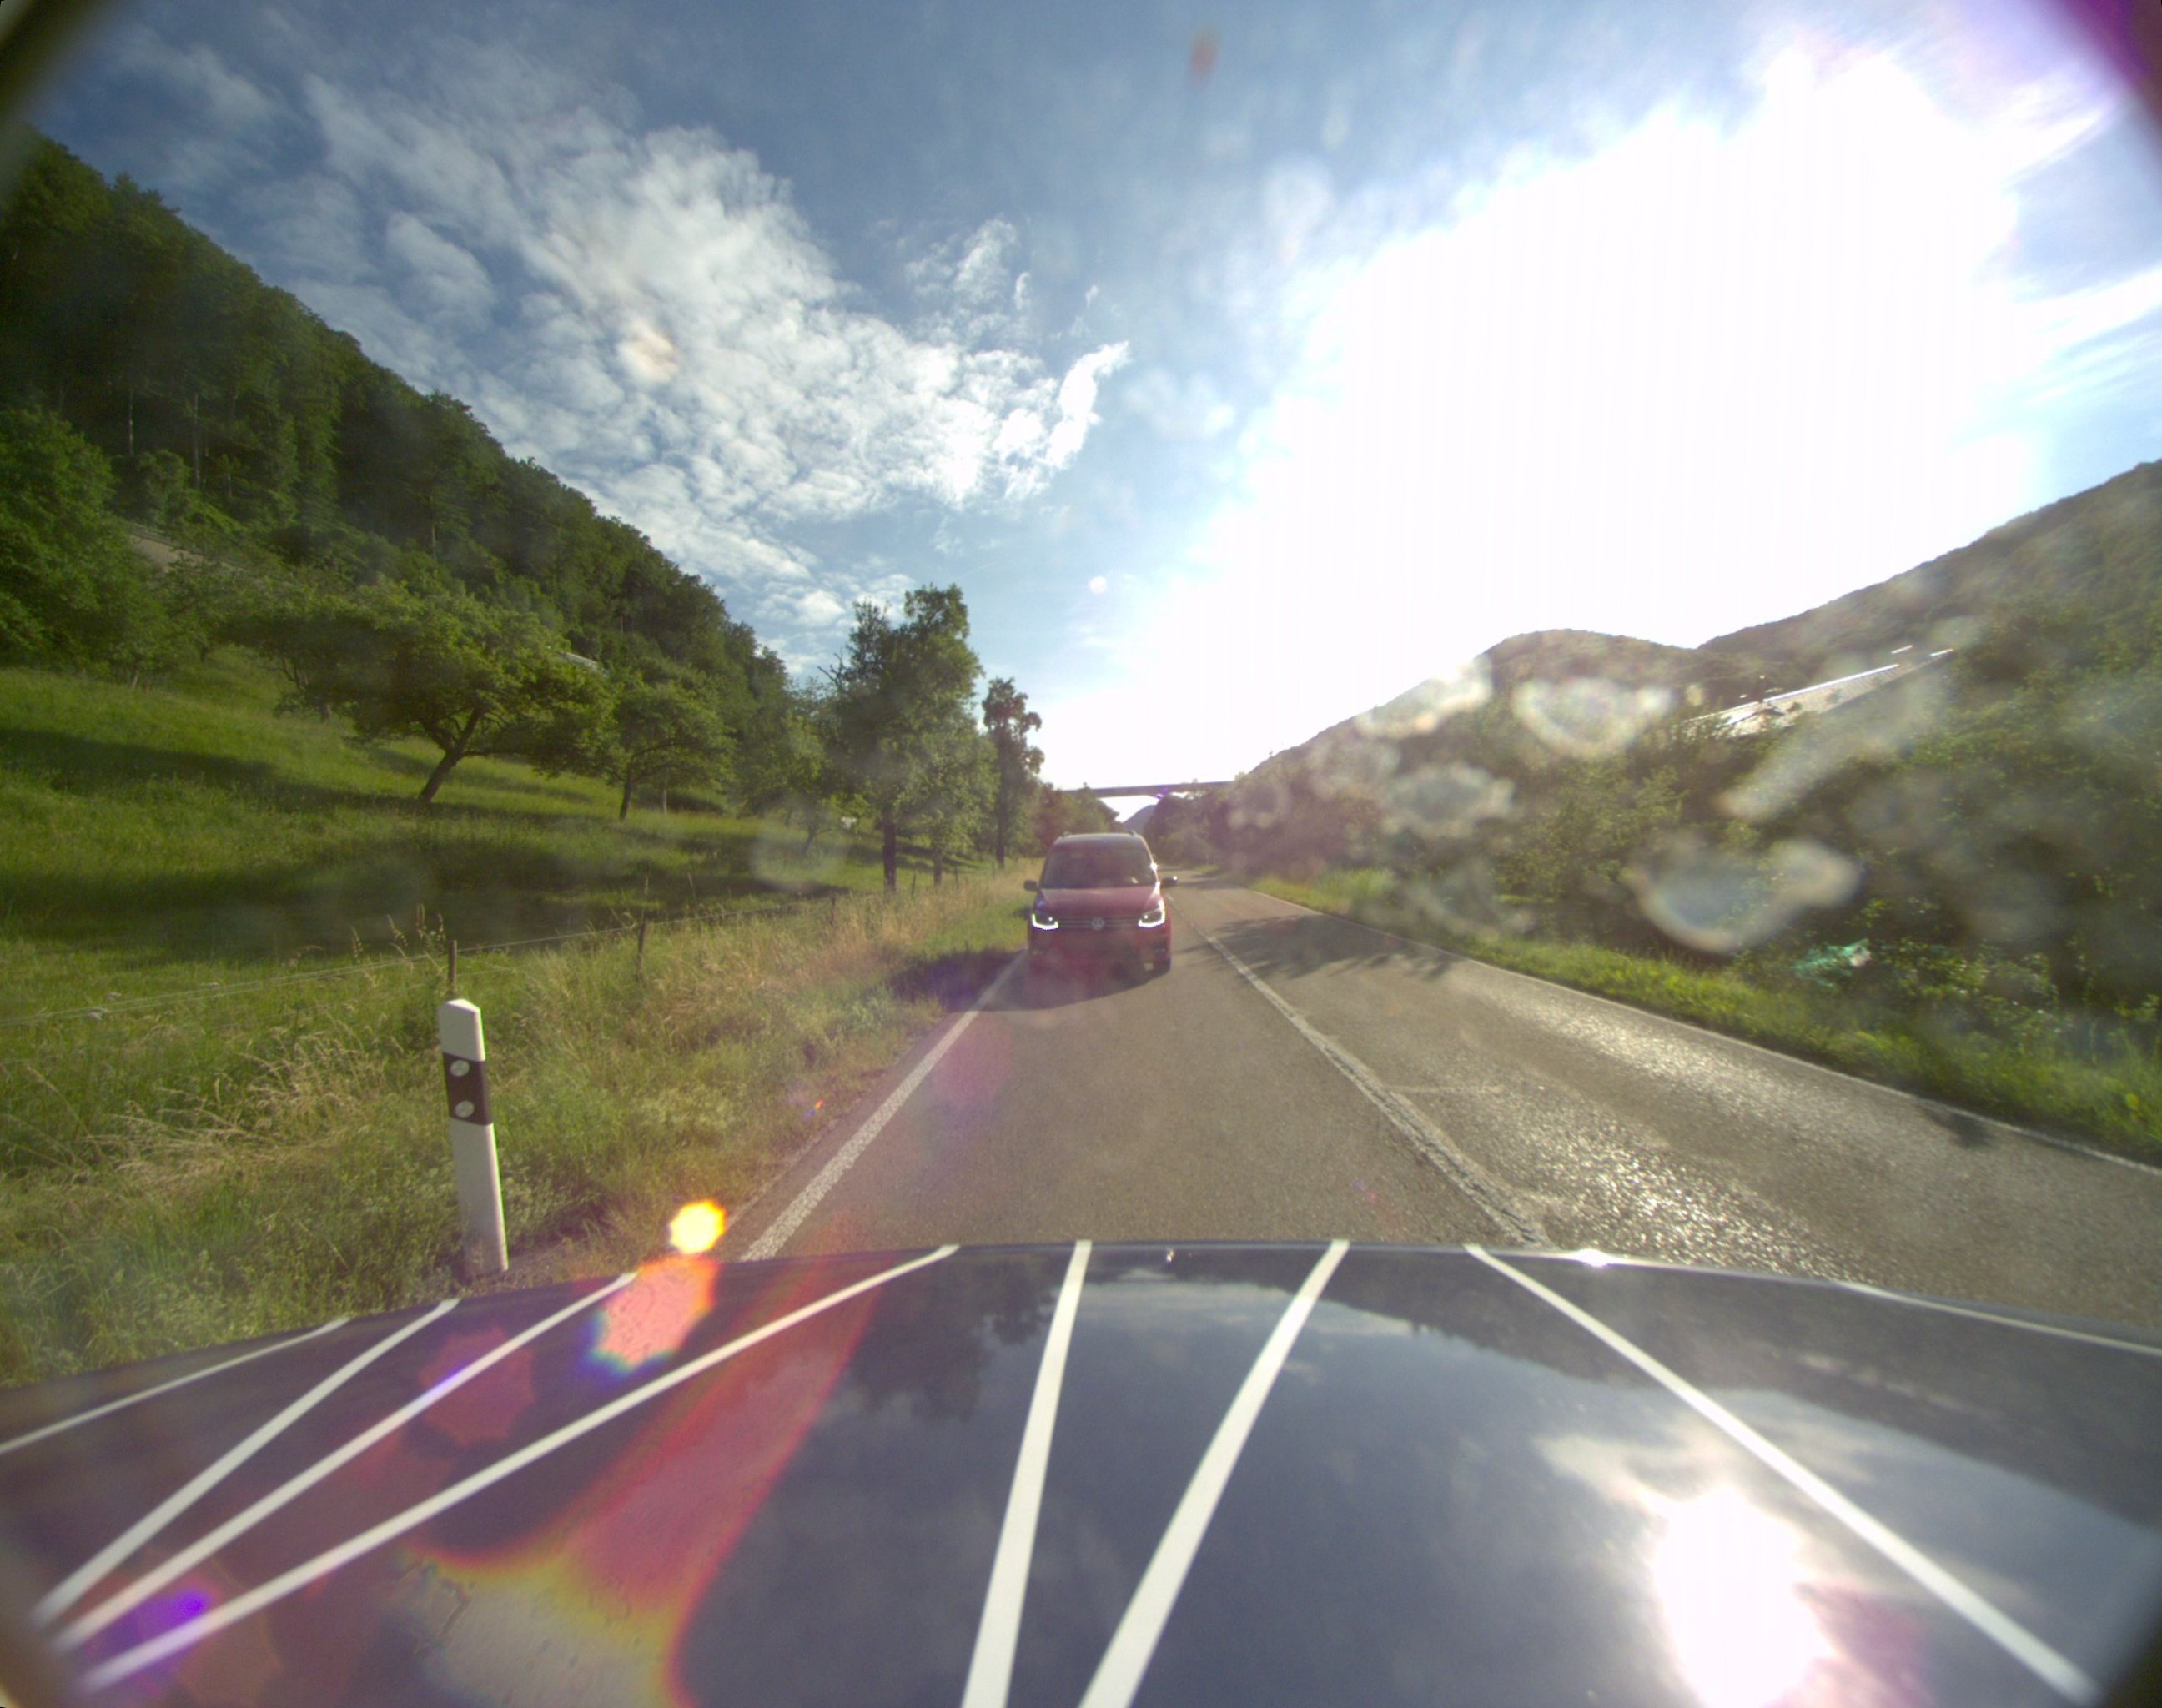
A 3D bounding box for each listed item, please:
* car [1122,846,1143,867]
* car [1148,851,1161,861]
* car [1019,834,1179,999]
[{"bbox_3d":[5.334,0.227,78.786,1.998,2.002,4.000,-2,1,3],"label":"car"},{"bbox_3d":[10.764,0.326,111.520,1.696,1.401,3.664,-1,1,4],"label":"car"},{"bbox_3d":[0.265,0.692,10.422,1.741,1.803,4.000,-1,0,2],"label":"car"}]
